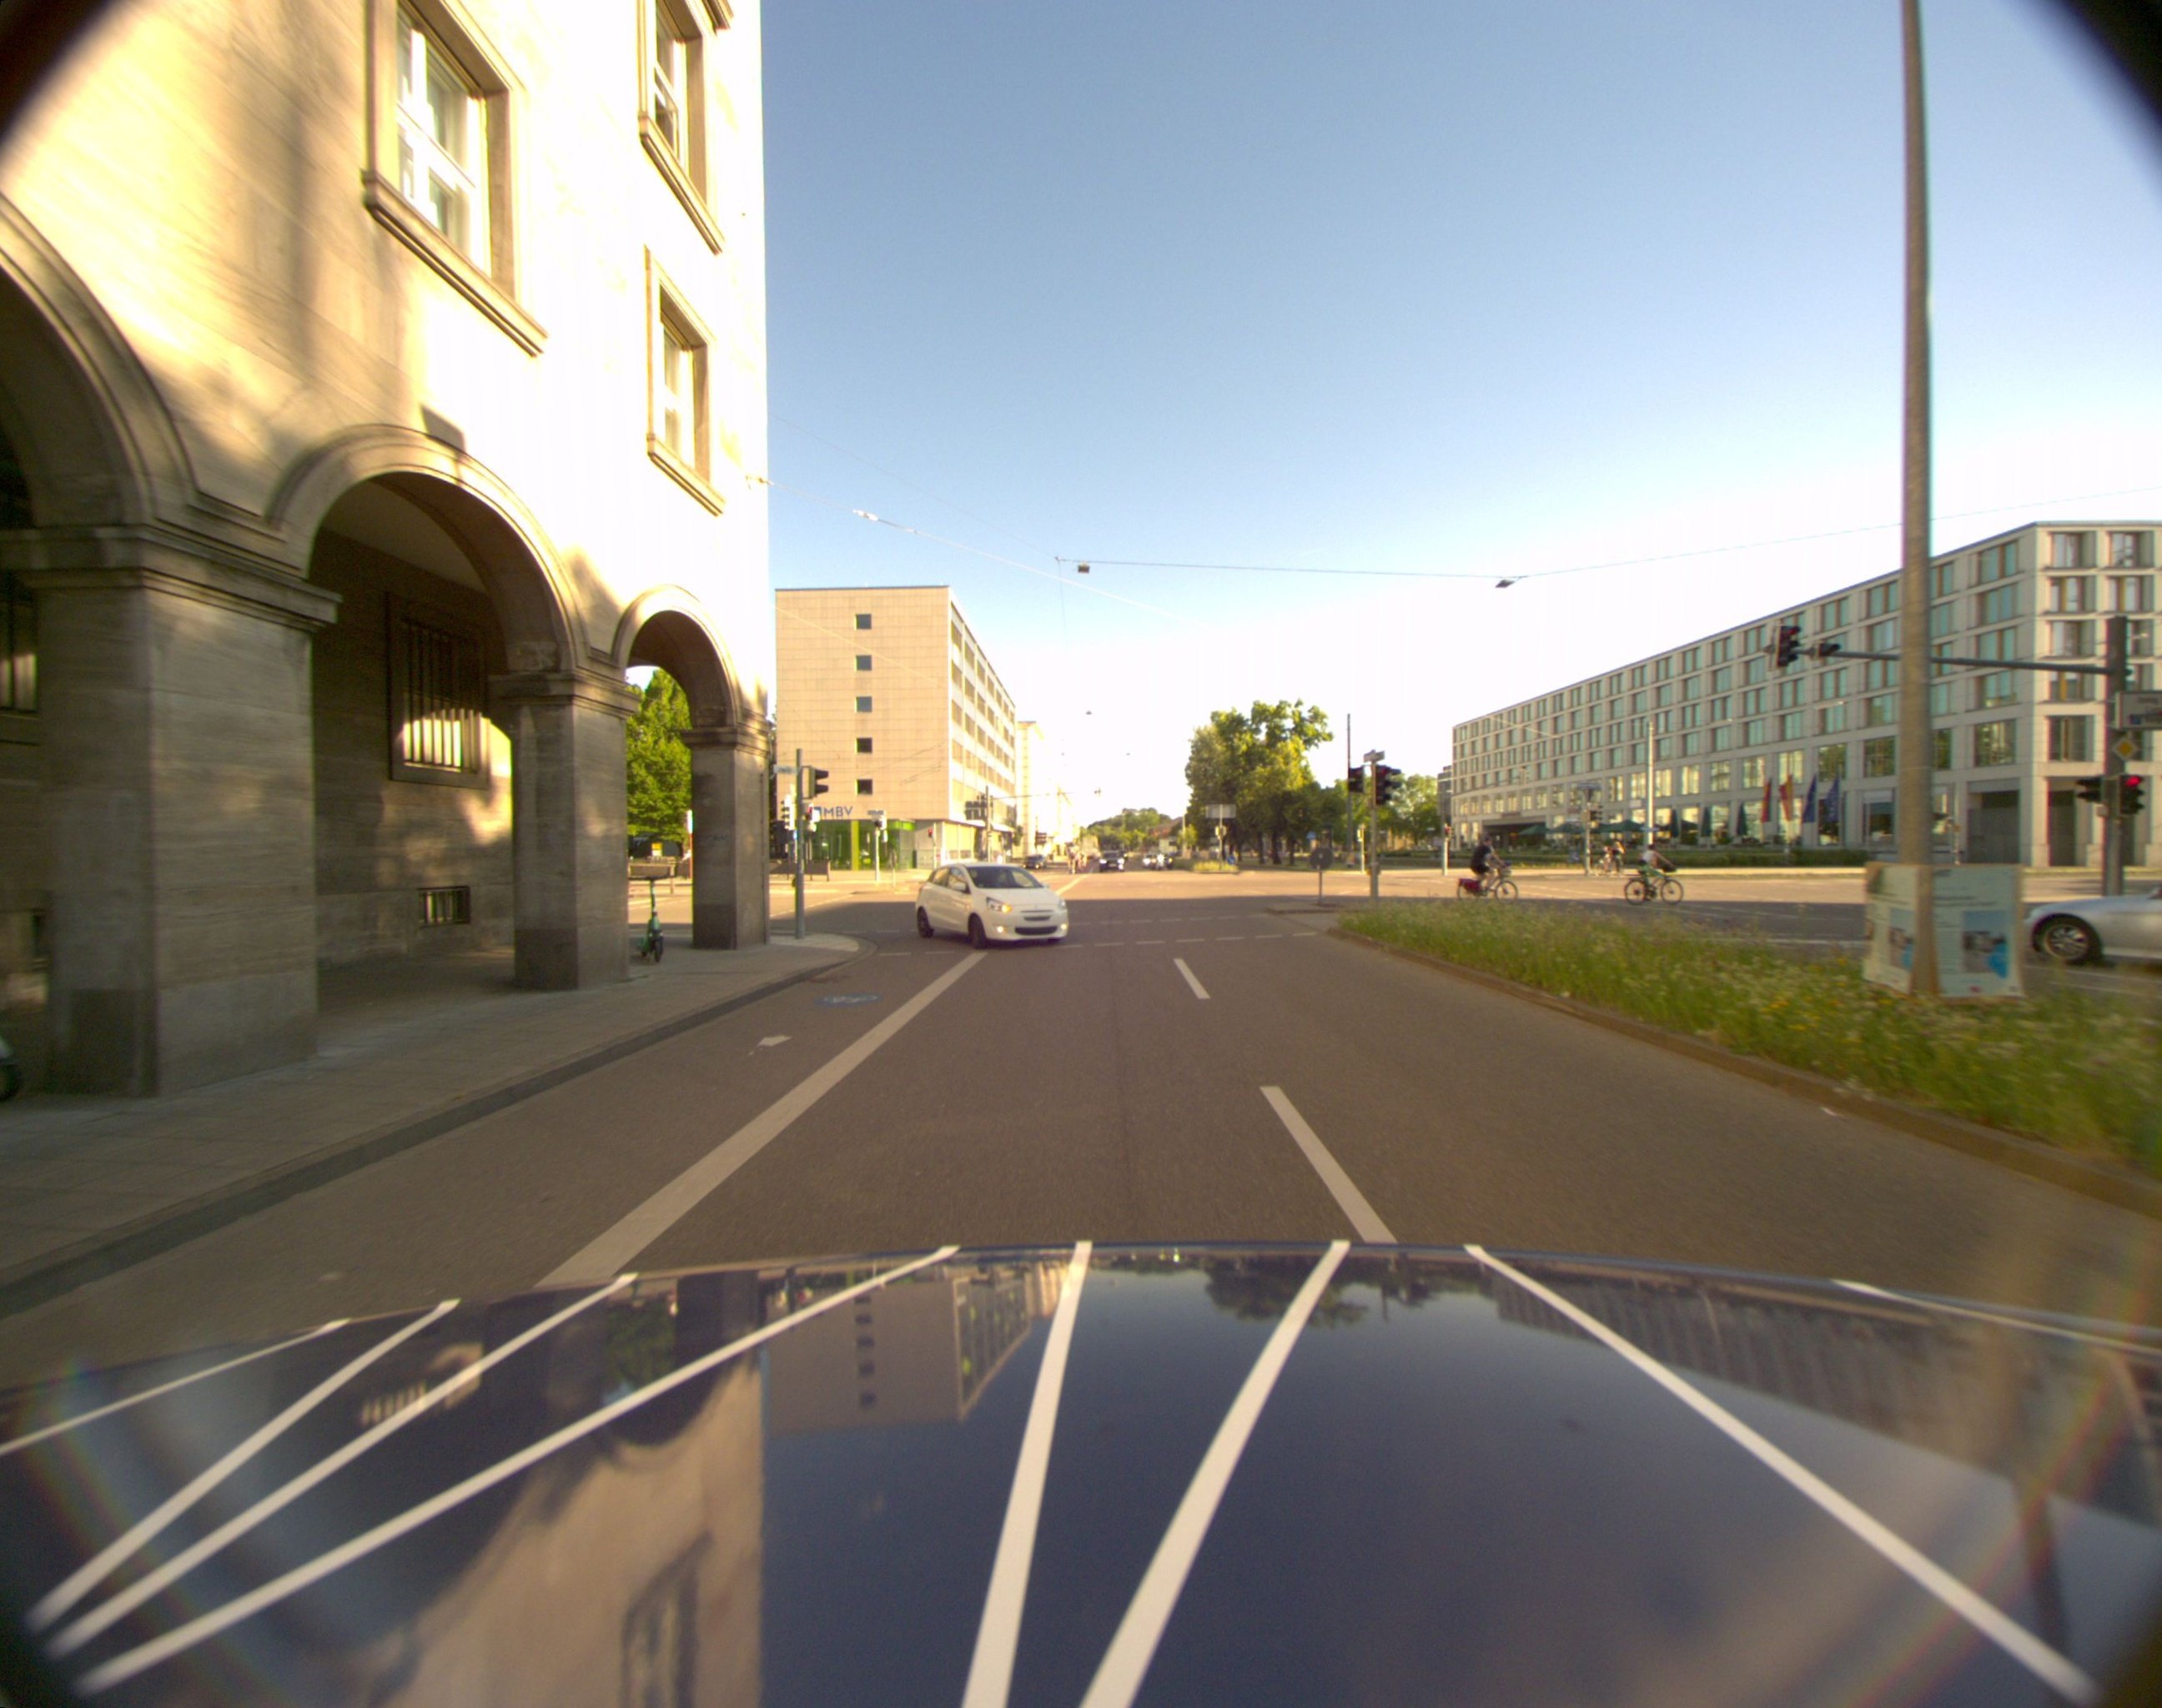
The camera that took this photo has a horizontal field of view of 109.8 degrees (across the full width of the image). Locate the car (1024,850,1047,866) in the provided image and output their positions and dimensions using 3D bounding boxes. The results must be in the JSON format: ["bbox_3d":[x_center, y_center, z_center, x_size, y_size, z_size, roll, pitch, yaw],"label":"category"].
[{"bbox_3d":[-4.728,0.414,79.305,1.998,1.564,4.549,0,1,2],"label":"car"}]

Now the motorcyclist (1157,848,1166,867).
[{"bbox_3d":[6.318,0.273,59.890,0.607,1.438,0.736,0,1,-2],"label":"motorcyclist"}]

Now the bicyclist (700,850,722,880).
[{"bbox_3d":[-21.230,0.630,43.619,0.948,1.682,0.762,-1,5,-41],"label":"bicyclist"}]

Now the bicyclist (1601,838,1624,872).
[{"bbox_3d":[25.078,0.046,35.867,0.850,1.610,0.974,0,1,31],"label":"bicyclist"}]

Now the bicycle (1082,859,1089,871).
[{"bbox_3d":[0.361,0.830,58.440,0.452,0.869,1.385,0,1,2],"label":"bicycle"}]

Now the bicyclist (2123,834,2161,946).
[{"bbox_3d":[16.511,0.544,11.314,0.782,1.669,0.840,1,1,16],"label":"bicyclist"}]

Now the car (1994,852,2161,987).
[{"bbox_3d":[13.634,0.775,8.277,1.998,1.551,4.549,0,1,2],"label":"car"}]

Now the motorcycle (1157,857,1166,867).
[{"bbox_3d":[6.328,0.635,59.753,0.623,0.791,1.309,0,1,0],"label":"motorcycle"}]

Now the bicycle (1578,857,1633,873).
[{"bbox_3d":[28.094,0.575,40.748,2.333,0.846,0.843,0,1,5],"label":"bicycle"}]

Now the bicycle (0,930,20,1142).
[{"bbox_3d":[-5.953,1.030,3.733,1.708,1.126,0.665,2,1,42],"label":"bicycle"}]

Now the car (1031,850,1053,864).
[{"bbox_3d":[-4.338,0.298,85.359,1.998,1.564,4.549,0,1,2],"label":"car"}]

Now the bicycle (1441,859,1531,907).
[{"bbox_3d":[11.114,0.784,20.898,2.019,1.233,0.778,0,3,2],"label":"bicycle"}]

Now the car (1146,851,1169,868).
[{"bbox_3d":[7.473,0.508,74.893,1.998,1.564,4.549,0,1,2],"label":"car"}]

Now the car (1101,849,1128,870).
[{"bbox_3d":[2.616,0.401,59.772,1.998,1.564,4.549,-1,1,2],"label":"car"}]

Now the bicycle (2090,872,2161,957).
[{"bbox_3d":[16.461,0.916,11.154,0.776,1.232,2.252,0,1,17],"label":"bicycle"}]

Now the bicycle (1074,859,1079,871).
[{"bbox_3d":[-0.352,0.836,58.253,0.351,0.869,1.385,0,1,2],"label":"bicycle"}]

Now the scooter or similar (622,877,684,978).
[{"bbox_3d":[-5.844,0.961,10.352,0.643,1.216,1.261,1,1,-33],"label":"scooter or similar"}]

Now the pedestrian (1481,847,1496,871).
[{"bbox_3d":[26.384,0.312,49.245,0.623,1.517,0.603,0,1,-3],"label":"pedestrian"}]

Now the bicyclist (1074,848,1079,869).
[{"bbox_3d":[-0.356,0.349,58.241,0.358,1.567,0.535,0,1,2],"label":"bicyclist"}]

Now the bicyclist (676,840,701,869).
[{"bbox_3d":[-21.312,0.019,41.251,0.886,1.499,0.909,4,4,37],"label":"bicyclist"}]

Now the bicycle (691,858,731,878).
[{"bbox_3d":[-21.215,0.781,43.608,1.911,1.061,0.752,-1,4,-41],"label":"bicycle"}]

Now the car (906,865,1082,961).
[{"bbox_3d":[-1.745,0.963,14.104,1.682,1.455,3.756,-2,1,-34],"label":"car"}]

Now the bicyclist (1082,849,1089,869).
[{"bbox_3d":[0.358,0.364,58.366,0.453,1.567,0.535,0,1,2],"label":"bicyclist"}]

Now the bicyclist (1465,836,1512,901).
[{"bbox_3d":[11.196,0.379,20.891,0.838,1.734,0.754,0,3,2],"label":"bicyclist"}]

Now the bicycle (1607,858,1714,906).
[{"bbox_3d":[16.031,0.765,21.047,2.310,1.233,0.778,-1,3,2],"label":"bicycle"}]

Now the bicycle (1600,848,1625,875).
[{"bbox_3d":[25.104,0.332,35.907,0.844,1.223,2.018,0,1,31],"label":"bicycle"}]

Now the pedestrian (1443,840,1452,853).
[{"bbox_3d":[43.703,-0.861,90.557,0.784,1.517,0.762,0,1,3],"label":"pedestrian"}]

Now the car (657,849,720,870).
[{"bbox_3d":[-30.840,0.416,59.726,3.998,1.576,1.739,0,2,-3],"label":"car"}]

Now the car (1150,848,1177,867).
[{"bbox_3d":[7.034,0.280,65.502,1.998,1.564,4.549,-1,1,2],"label":"car"}]

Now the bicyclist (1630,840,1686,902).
[{"bbox_3d":[15.957,0.451,21.039,0.924,1.681,0.775,-1,3,2],"label":"bicyclist"}]

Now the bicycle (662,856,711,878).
[{"bbox_3d":[-21.395,0.701,41.209,0.881,1.061,2.187,4,4,39],"label":"bicycle"}]

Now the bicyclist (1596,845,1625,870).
[{"bbox_3d":[28.376,0.180,40.728,0.972,1.354,0.827,0,1,4],"label":"bicyclist"}]
